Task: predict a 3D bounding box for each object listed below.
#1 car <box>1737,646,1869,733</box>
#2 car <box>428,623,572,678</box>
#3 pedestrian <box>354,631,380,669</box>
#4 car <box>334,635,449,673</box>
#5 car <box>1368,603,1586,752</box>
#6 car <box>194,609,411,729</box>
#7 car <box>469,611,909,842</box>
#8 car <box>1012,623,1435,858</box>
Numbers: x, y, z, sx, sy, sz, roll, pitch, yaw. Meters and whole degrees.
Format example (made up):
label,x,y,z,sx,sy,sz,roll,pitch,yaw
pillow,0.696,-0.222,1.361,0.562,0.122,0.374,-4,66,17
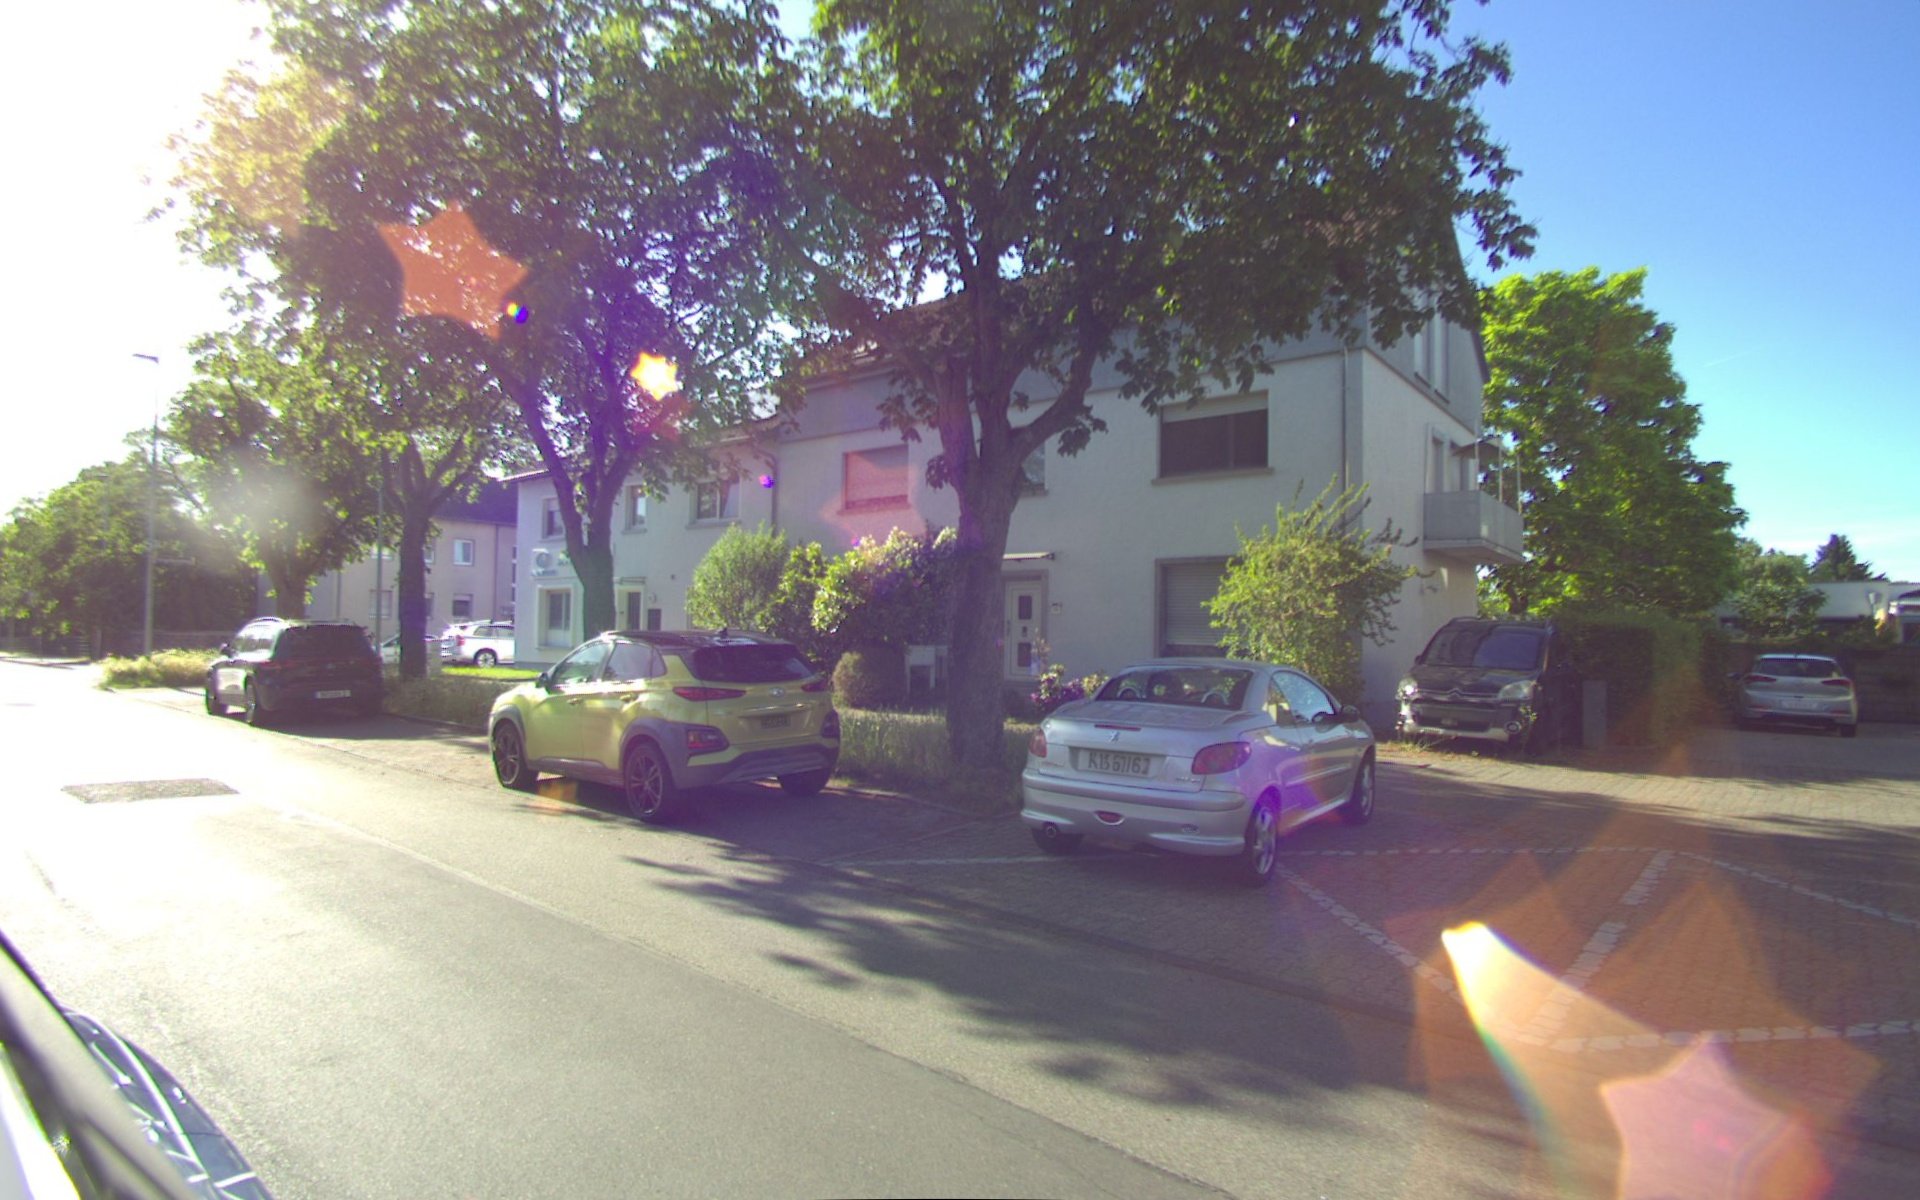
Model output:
label,x,y,z,sx,sy,sz,roll,pitch,yaw
car,16.286,1.654,19.489,1.761,1.475,3.944,-2,-4,42
car,-17.023,1.917,37.619,1.997,1.852,4.445,-5,-6,38
pedestrian,-25.096,2.107,42.842,0.638,1.565,0.776,-3,-3,38
car,-23.508,2.250,41.958,1.869,1.490,3.728,-4,-5,39
car,7.269,0.976,14.005,1.996,1.727,4.195,-3,-3,36
car,-11.196,1.091,17.076,4.874,1.740,1.932,-3,-3,43
car,-2.692,0.936,9.432,4.383,1.621,1.918,0,-1,43
car,2.170,0.857,7.651,1.610,1.311,3.726,-3,-3,40
